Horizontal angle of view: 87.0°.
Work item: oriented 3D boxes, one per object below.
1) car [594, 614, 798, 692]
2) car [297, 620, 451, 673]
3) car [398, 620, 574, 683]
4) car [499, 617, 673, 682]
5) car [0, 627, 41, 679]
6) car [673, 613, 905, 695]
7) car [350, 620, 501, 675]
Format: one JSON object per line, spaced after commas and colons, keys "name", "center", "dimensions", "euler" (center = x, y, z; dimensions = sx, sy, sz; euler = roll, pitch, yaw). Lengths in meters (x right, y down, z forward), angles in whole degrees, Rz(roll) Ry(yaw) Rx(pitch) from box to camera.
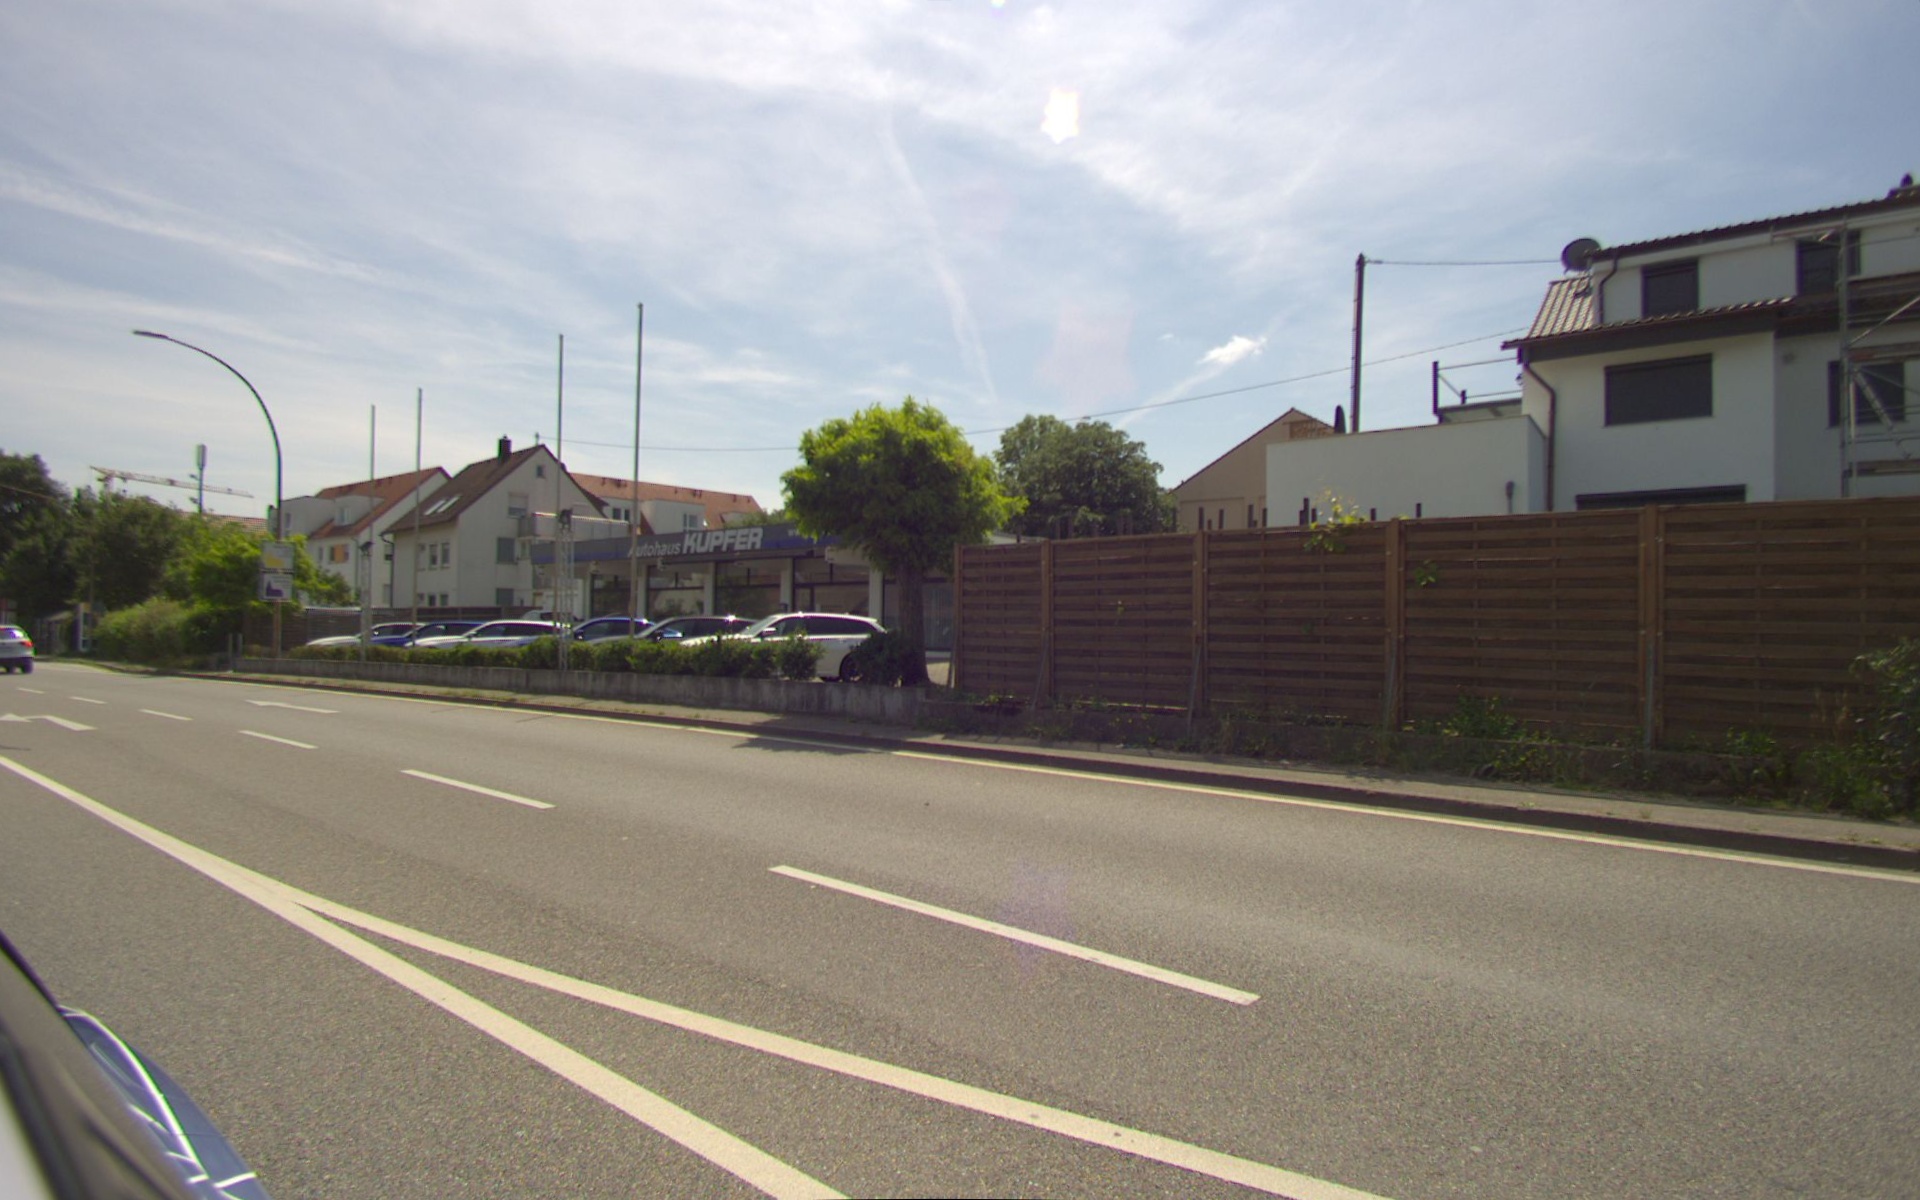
{"name": "car", "center": [-6.020, 1.161, 23.120], "dimensions": [4.187, 1.557, 1.856], "euler": [-1, -1, -27]}
{"name": "car", "center": [-19.188, 1.497, 33.388], "dimensions": [4.192, 1.541, 2.007], "euler": [-1, -1, -24]}
{"name": "car", "center": [-12.983, 1.370, 27.940], "dimensions": [4.239, 1.530, 2.006], "euler": [-1, -1, -23]}
{"name": "car", "center": [-9.396, 1.193, 25.418], "dimensions": [3.931, 1.453, 1.860], "euler": [-1, -1, -25]}
{"name": "car", "center": [-33.284, 1.806, 34.760], "dimensions": [4.397, 1.668, 1.828], "euler": [-2, -1, 38]}
{"name": "car", "center": [-3.462, 1.033, 20.509], "dimensions": [4.264, 1.471, 1.861], "euler": [0, -1, -26]}
{"name": "car", "center": [-16.157, 1.396, 30.828], "dimensions": [3.930, 1.475, 2.007], "euler": [-1, -1, -24]}
